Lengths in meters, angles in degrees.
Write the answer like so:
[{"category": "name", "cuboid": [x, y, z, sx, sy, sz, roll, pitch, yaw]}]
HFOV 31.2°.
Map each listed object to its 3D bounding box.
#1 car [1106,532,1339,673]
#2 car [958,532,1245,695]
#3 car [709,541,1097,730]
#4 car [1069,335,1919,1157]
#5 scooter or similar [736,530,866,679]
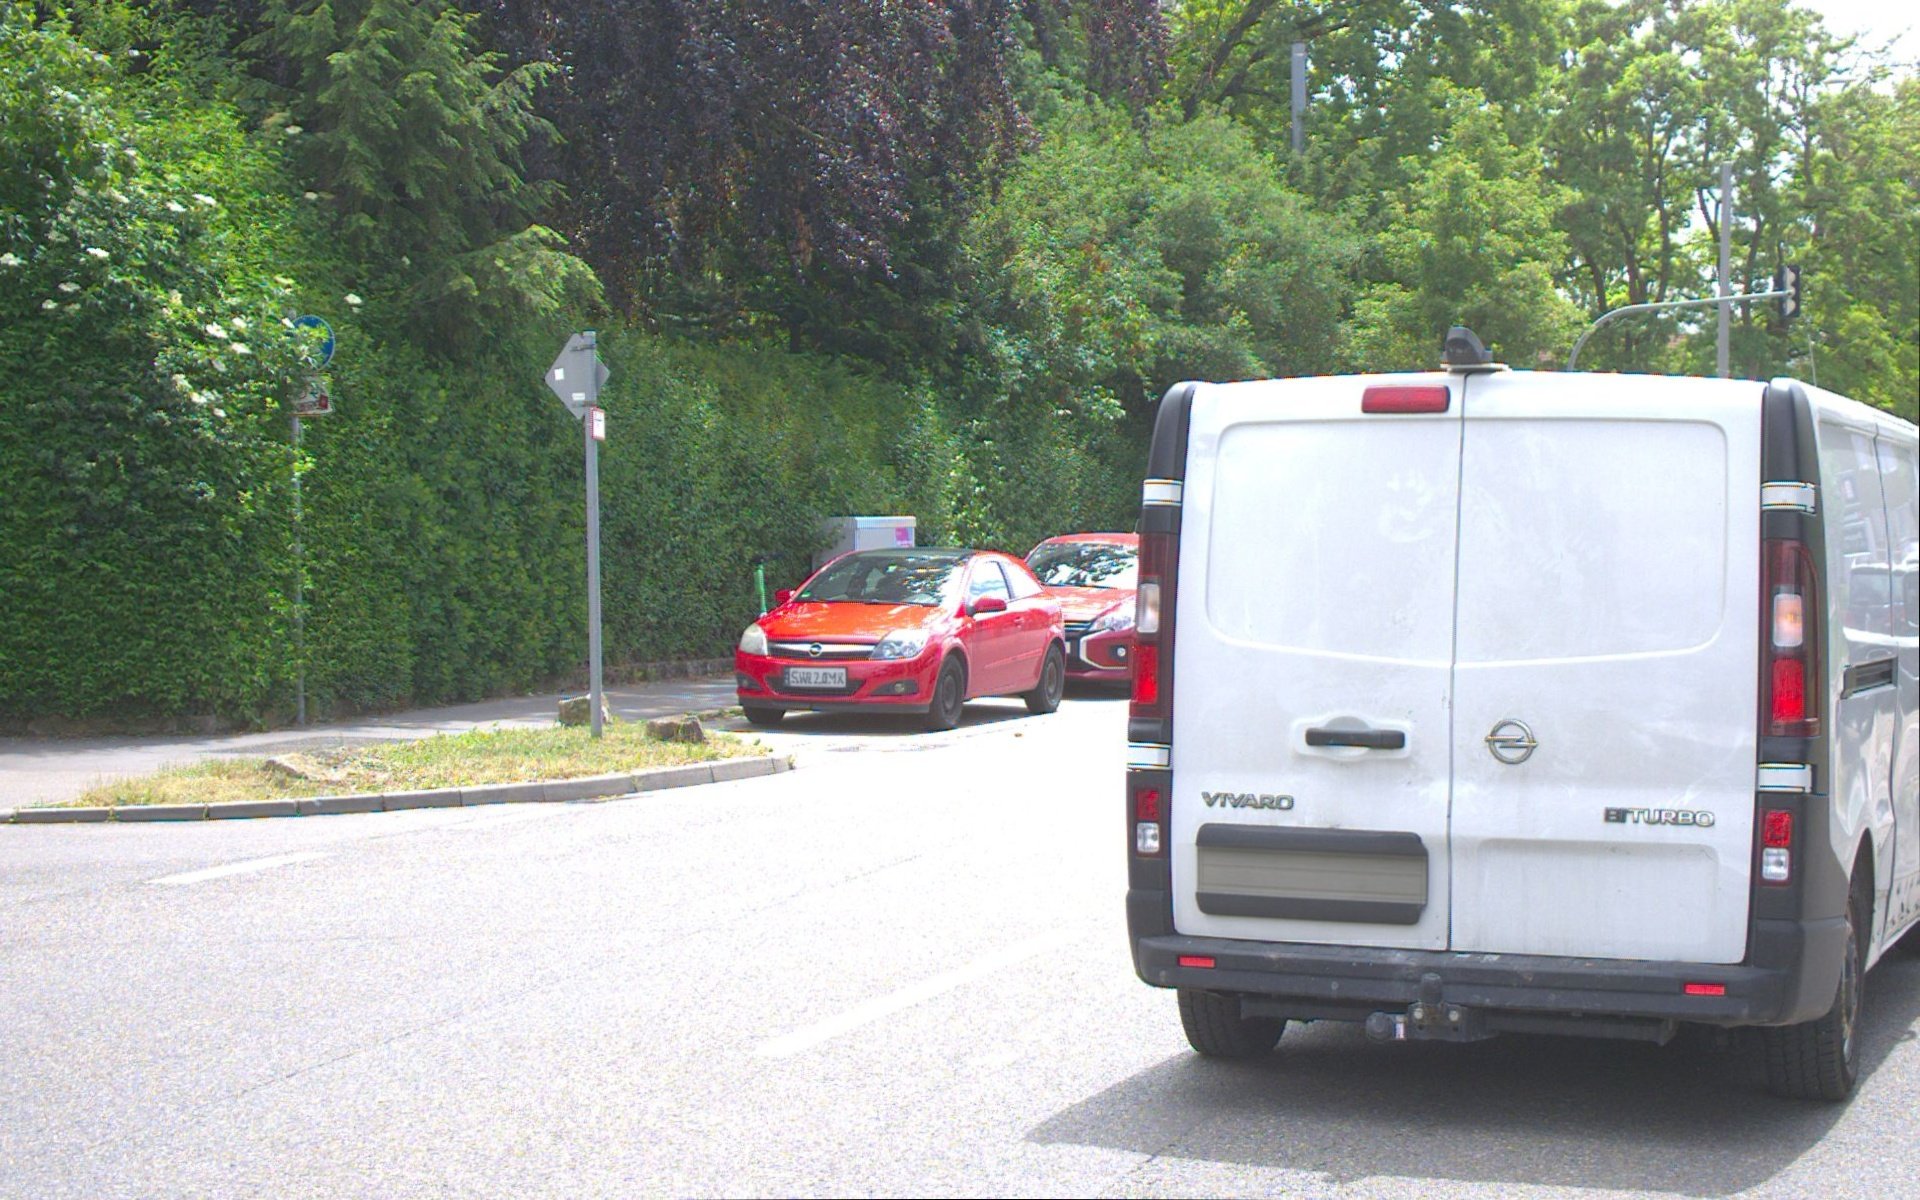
[{"category": "car", "cuboid": [2.938, -0.015, 37.907, 1.597, 1.445, 3.592, 1, 2, 21]}, {"category": "car", "cuboid": [1.439, 0.079, 33.275, 1.651, 1.445, 4.101, 1, 2, 19]}, {"category": "car", "cuboid": [-0.365, 0.227, 28.293, 1.662, 1.373, 4.562, 1, 2, 20]}, {"category": "car", "cuboid": [2.070, 0.273, 10.835, 1.941, 1.954, 4.828, 2, 2, 21]}, {"category": "scooter or similar", "cuboid": [-1.561, 0.024, 33.971, 0.671, 1.407, 1.647, 1, 2, 21]}]
